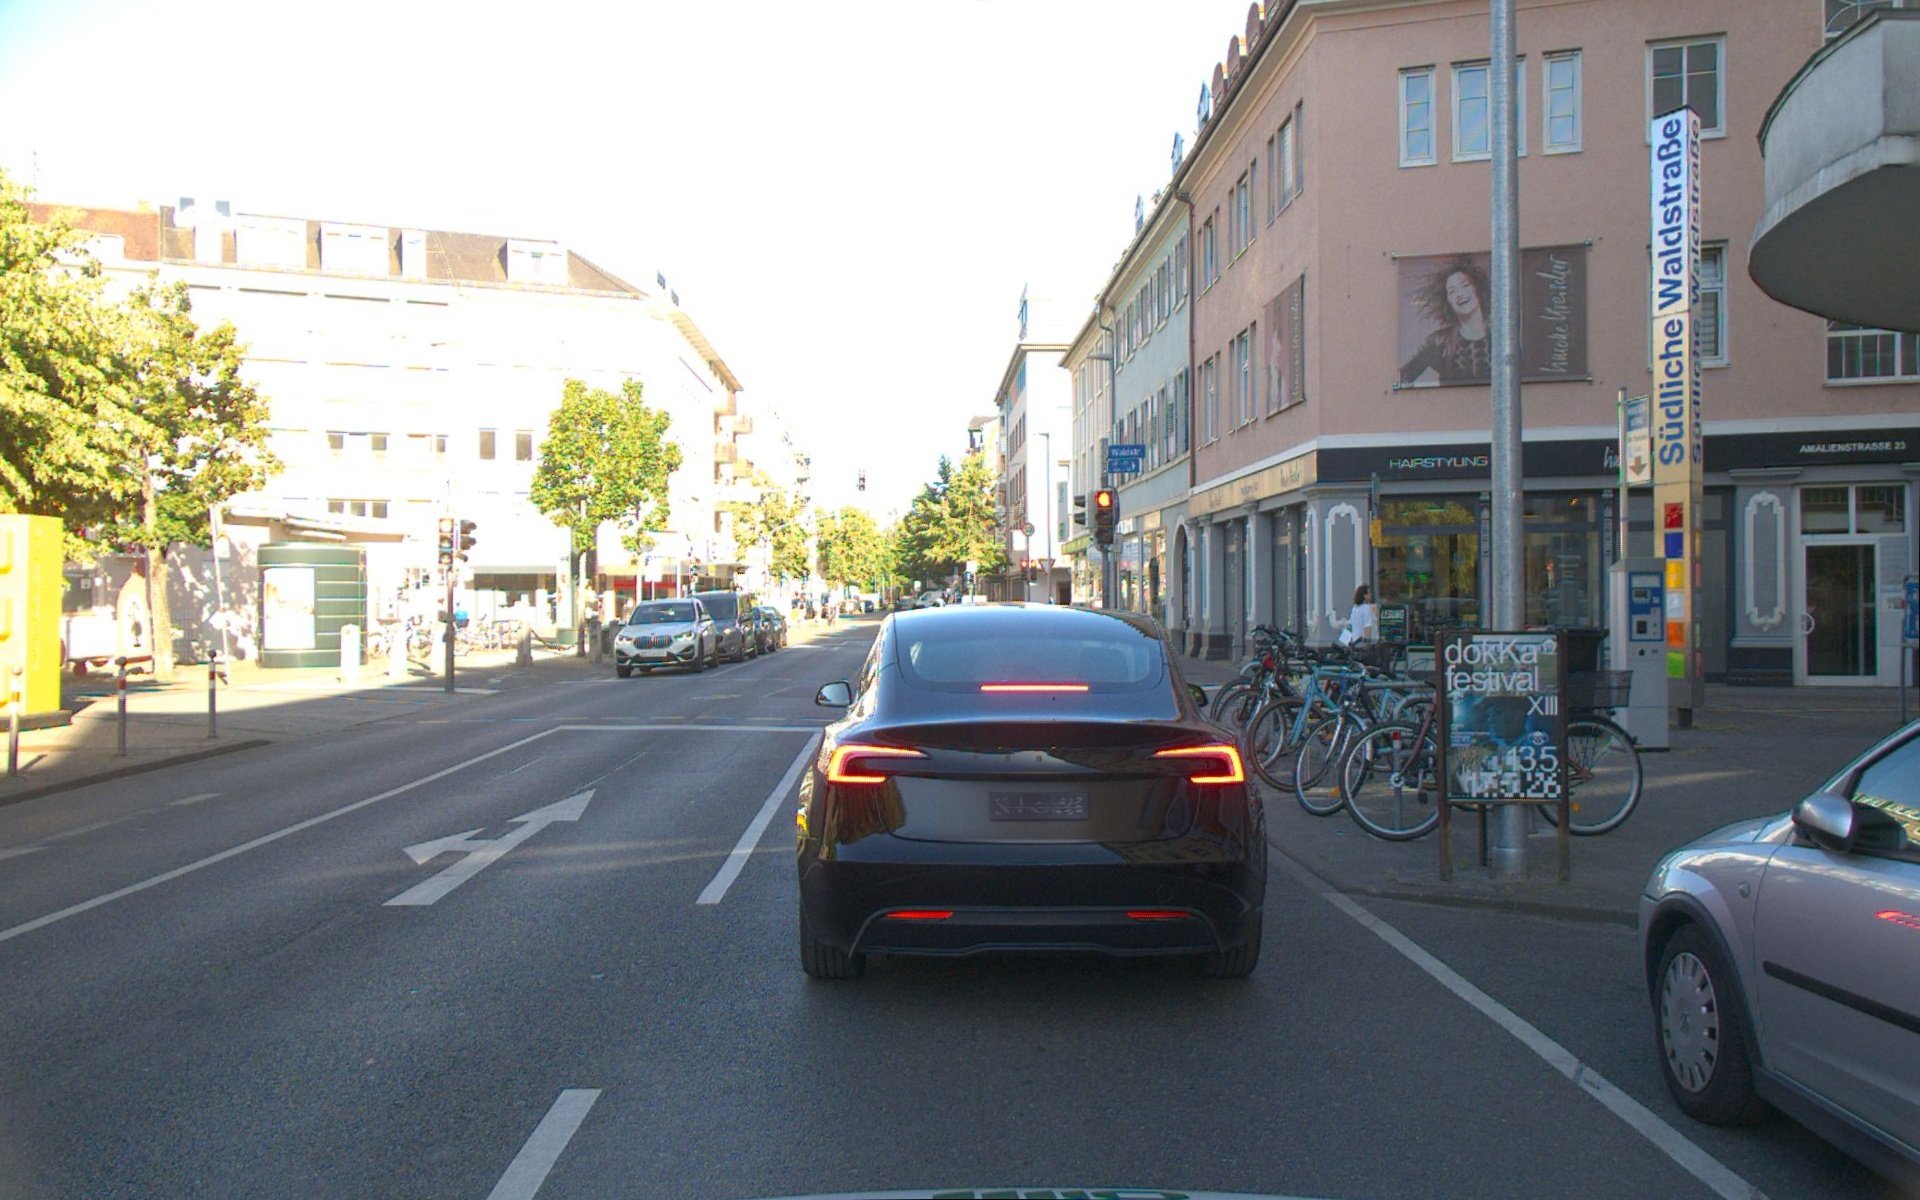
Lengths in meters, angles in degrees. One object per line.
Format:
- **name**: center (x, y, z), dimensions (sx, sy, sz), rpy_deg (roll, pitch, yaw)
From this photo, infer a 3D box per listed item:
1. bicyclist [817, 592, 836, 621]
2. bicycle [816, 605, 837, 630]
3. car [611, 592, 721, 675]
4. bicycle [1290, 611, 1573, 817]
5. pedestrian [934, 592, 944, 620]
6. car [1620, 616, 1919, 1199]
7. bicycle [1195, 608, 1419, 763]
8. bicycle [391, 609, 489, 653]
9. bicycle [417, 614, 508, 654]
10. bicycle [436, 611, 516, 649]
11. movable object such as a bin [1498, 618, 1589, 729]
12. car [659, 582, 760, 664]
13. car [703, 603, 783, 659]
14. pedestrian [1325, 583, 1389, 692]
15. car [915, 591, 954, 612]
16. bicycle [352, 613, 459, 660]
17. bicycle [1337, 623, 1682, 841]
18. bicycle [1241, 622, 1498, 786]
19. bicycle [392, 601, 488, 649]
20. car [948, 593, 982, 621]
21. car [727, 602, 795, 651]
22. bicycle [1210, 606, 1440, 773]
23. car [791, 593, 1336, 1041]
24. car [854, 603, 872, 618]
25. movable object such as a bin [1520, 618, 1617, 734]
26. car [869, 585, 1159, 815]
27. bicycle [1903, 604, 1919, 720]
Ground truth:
- **bicyclist**: center (-7.707, 0.365, 95.495), dimensions (1.104, 1.657, 0.964), rpy_deg (0, 0, -4)
- **bicycle**: center (-7.691, 0.992, 95.402), dimensions (1.089, 1.368, 3.997), rpy_deg (0, 0, -4)
- **car**: center (-6.376, 0.686, 36.253), dimensions (1.771, 1.582, 4.307), rpy_deg (-4, 0, -3)
- **bicycle**: center (3.143, 0.748, 11.158), dimensions (1.686, 1.290, 0.791), rpy_deg (-2, 0, 5)
- **pedestrian**: center (-1.534, 0.460, 120.377), dimensions (0.628, 2.049, 0.690), rpy_deg (0, 0, -5)
- **car**: center (2.934, 0.777, 3.517), dimensions (1.580, 1.406, 3.642), rpy_deg (1, 0, 0)
- **bicycle**: center (3.056, 0.747, 14.717), dimensions (1.822, 1.280, 0.833), rpy_deg (-2, 0, 5)
- **bicycle**: center (-14.098, 0.840, 44.889), dimensions (2.412, 1.176, 0.842), rpy_deg (0, 0, -2)
- **bicycle**: center (-14.884, 1.012, 49.566), dimensions (2.485, 1.176, 0.841), rpy_deg (0, 0, -6)
- **bicycle**: center (-15.208, 0.939, 51.989), dimensions (2.279, 1.176, 0.841), rpy_deg (0, 0, -6)
- **movable object such as a bin**: center (6.027, 0.749, 17.102), dimensions (0.718, 1.111, 0.627), rpy_deg (1, 0, 1)
- **car**: center (-6.363, 0.535, 42.503), dimensions (1.797, 1.877, 4.674), rpy_deg (-4, 0, 0)
- **car**: center (-6.416, 0.881, 49.325), dimensions (1.954, 1.434, 4.671), rpy_deg (-4, 0, -3)
- **pedestrian**: center (5.869, 0.546, 24.464), dimensions (0.732, 1.579, 0.698), rpy_deg (0, 0, -5)
- **car**: center (-2.560, 0.147, 167.517), dimensions (3.907, 2.049, 1.999), rpy_deg (0, 0, -2)
- **bicycle**: center (-14.185, 0.921, 42.355), dimensions (2.455, 1.176, 0.842), rpy_deg (0, 0, -2)
- **bicycle**: center (3.290, 0.783, 10.028), dimensions (1.846, 1.214, 0.692), rpy_deg (-2, 1, 5)
- **bicycle**: center (3.060, 0.770, 12.508), dimensions (1.760, 1.144, 0.782), rpy_deg (-2, 0, 5)
- **bicycle**: center (-14.706, 0.695, 46.812), dimensions (2.429, 1.347, 0.921), rpy_deg (0, 0, -6)
- **car**: center (0.285, 0.409, 100.780), dimensions (1.953, 1.657, 3.999), rpy_deg (0, 0, -1)
- **car**: center (-6.799, 0.868, 56.910), dimensions (1.954, 1.461, 4.671), rpy_deg (-4, 0, -3)
- **bicycle**: center (2.991, 0.720, 13.686), dimensions (1.709, 1.289, 0.781), rpy_deg (-2, 0, 2)
- **car**: center (0.318, 0.723, 7.497), dimensions (1.810, 1.480, 3.999), rpy_deg (0, 0, -1)
- **car**: center (-10.973, 1.199, 186.893), dimensions (1.954, 1.666, 3.997), rpy_deg (0, 0, -4)
- **movable object such as a bin**: center (6.048, 0.746, 16.465), dimensions (0.737, 1.111, 0.627), rpy_deg (1, 0, 1)
- **car**: center (0.291, 0.667, 13.206), dimensions (1.953, 1.538, 4.173), rpy_deg (0, 0, -2)
- **bicycle**: center (10.320, 0.652, 17.004), dimensions (0.645, 1.220, 2.212), rpy_deg (0, 0, 18)
